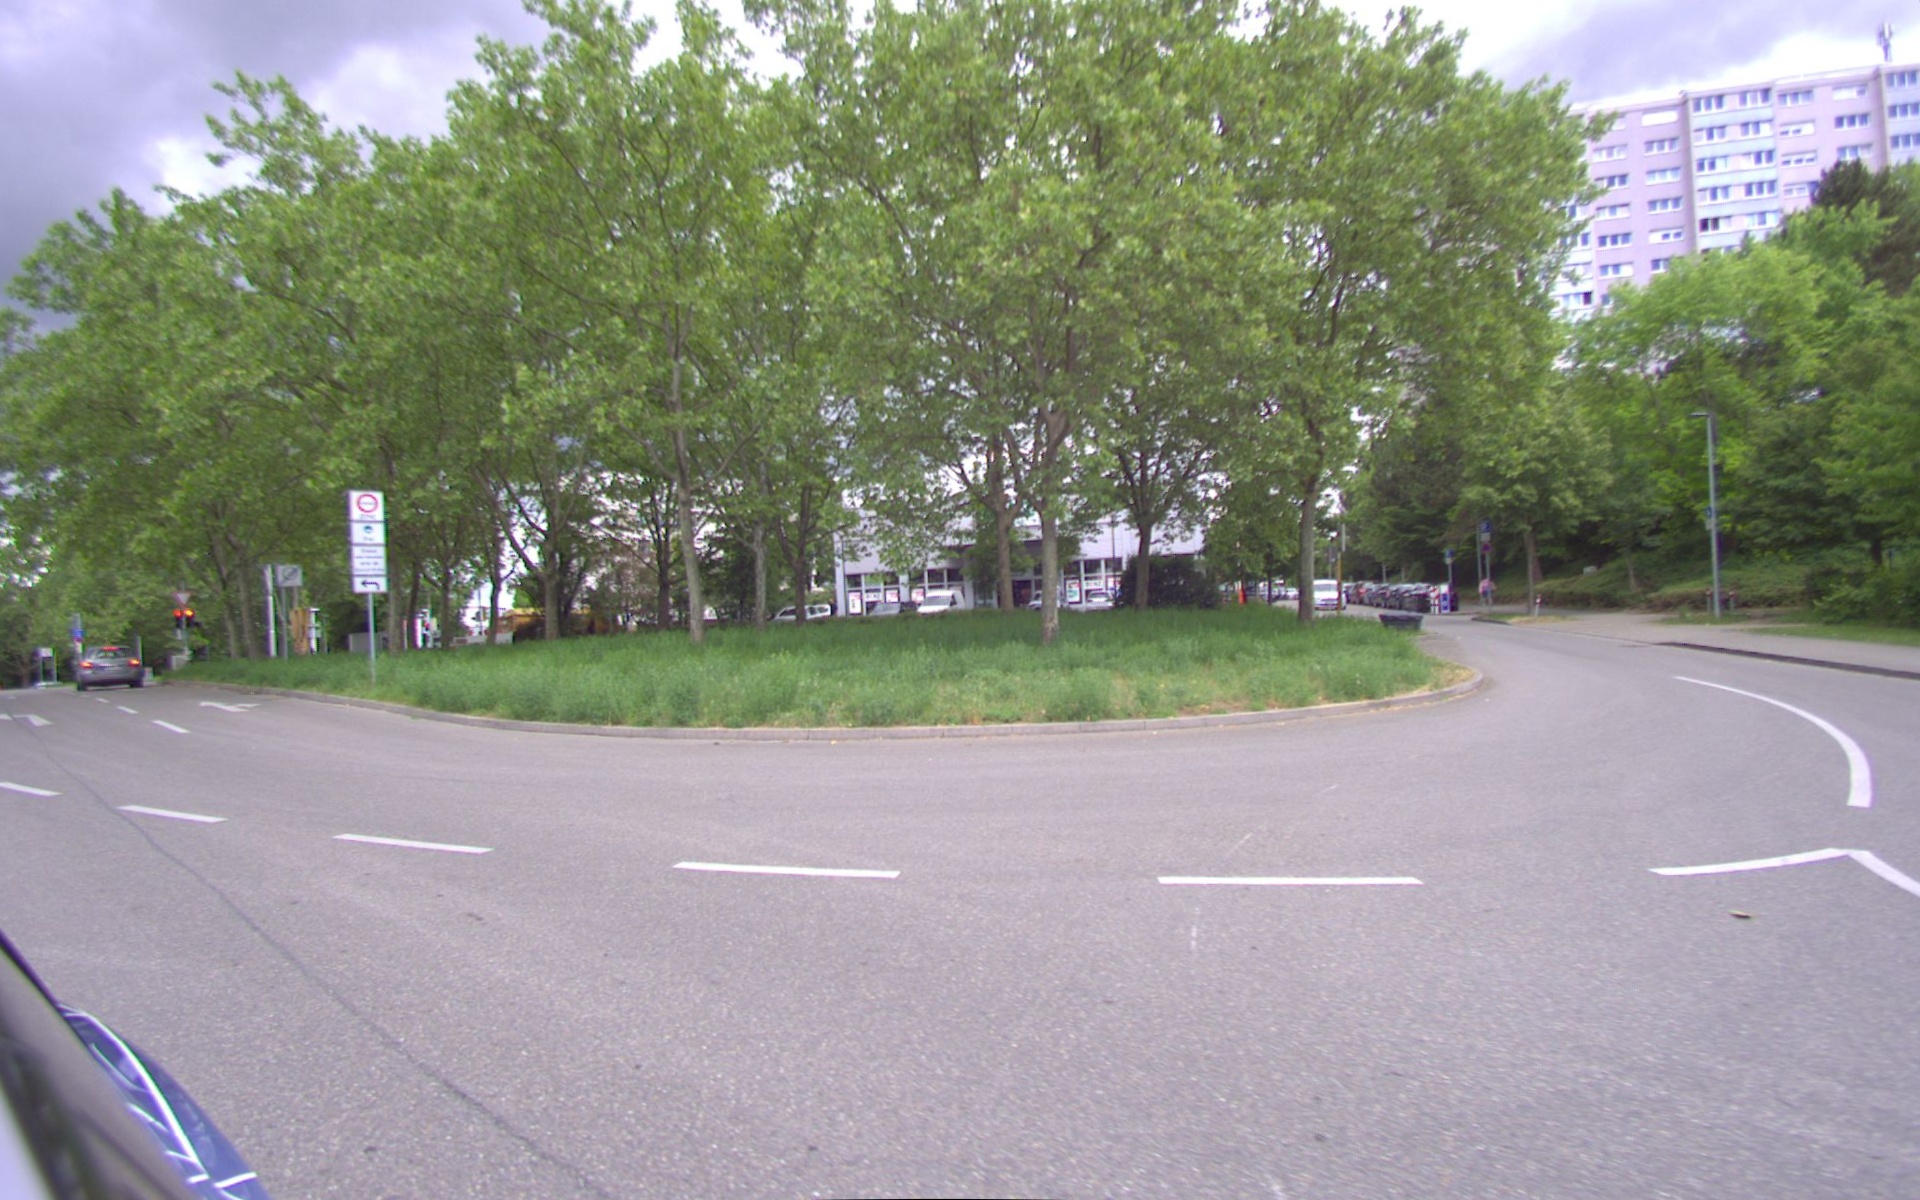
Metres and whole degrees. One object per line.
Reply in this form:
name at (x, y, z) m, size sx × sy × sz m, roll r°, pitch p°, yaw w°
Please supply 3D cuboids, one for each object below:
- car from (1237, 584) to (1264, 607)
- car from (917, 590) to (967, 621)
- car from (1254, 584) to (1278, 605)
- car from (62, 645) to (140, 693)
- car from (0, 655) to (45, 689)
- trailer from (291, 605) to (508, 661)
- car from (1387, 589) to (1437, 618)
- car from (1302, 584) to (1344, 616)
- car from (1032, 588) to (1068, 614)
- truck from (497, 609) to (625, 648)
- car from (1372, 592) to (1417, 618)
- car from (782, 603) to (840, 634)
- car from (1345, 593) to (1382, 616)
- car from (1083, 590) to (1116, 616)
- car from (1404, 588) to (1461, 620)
car at (23.455, -0.335, 81.804) m, size 1.764 × 1.785 × 3.984 m, roll -1°, pitch 0°, yaw 13°
car at (-0.890, 0.270, 52.050) m, size 1.638 × 1.475 × 3.984 m, roll -1°, pitch 0°, yaw 13°
car at (27.580, -0.490, 91.210) m, size 1.764 × 1.785 × 3.984 m, roll -1°, pitch 0°, yaw 13°
car at (-31.595, 2.495, 37.186) m, size 4.000 × 1.527 × 1.735 m, roll -1°, pitch 0°, yaw 43°
car at (-45.878, 3.455, 47.817) m, size 3.862 × 1.443 × 1.611 m, roll -1°, pitch 0°, yaw -43°
trailer at (-32.484, 1.838, 59.251) m, size 10.921 × 2.827 × 2.084 m, roll -1°, pitch 0°, yaw -43°
car at (24.570, 0.187, 55.145) m, size 1.764 × 1.497 × 3.660 m, roll -1°, pitch 0°, yaw 13°
car at (21.038, -0.022, 58.703) m, size 1.764 × 1.785 × 3.984 m, roll -1°, pitch 0°, yaw 13°
car at (5.420, 0.072, 60.795) m, size 1.638 × 1.475 × 3.984 m, roll -1°, pitch 0°, yaw 13°
truck at (-25.760, 1.795, 65.623) m, size 7.410 × 2.230 × 2.084 m, roll -1°, pitch 0°, yaw -43°
car at (25.642, 0.279, 59.892) m, size 1.764 × 1.497 × 3.660 m, roll -1°, pitch 0°, yaw 13°
car at (-7.774, 0.940, 53.141) m, size 1.638 × 1.475 × 3.984 m, roll -1°, pitch 0°, yaw 13°
car at (27.654, 0.270, 69.437) m, size 1.764 × 1.497 × 3.660 m, roll -1°, pitch 0°, yaw 13°
car at (8.394, 0.147, 60.817) m, size 1.638 × 1.475 × 3.984 m, roll -1°, pitch 0°, yaw 13°
car at (23.186, 0.195, 49.769) m, size 1.764 × 1.497 × 3.660 m, roll -1°, pitch 0°, yaw 13°
